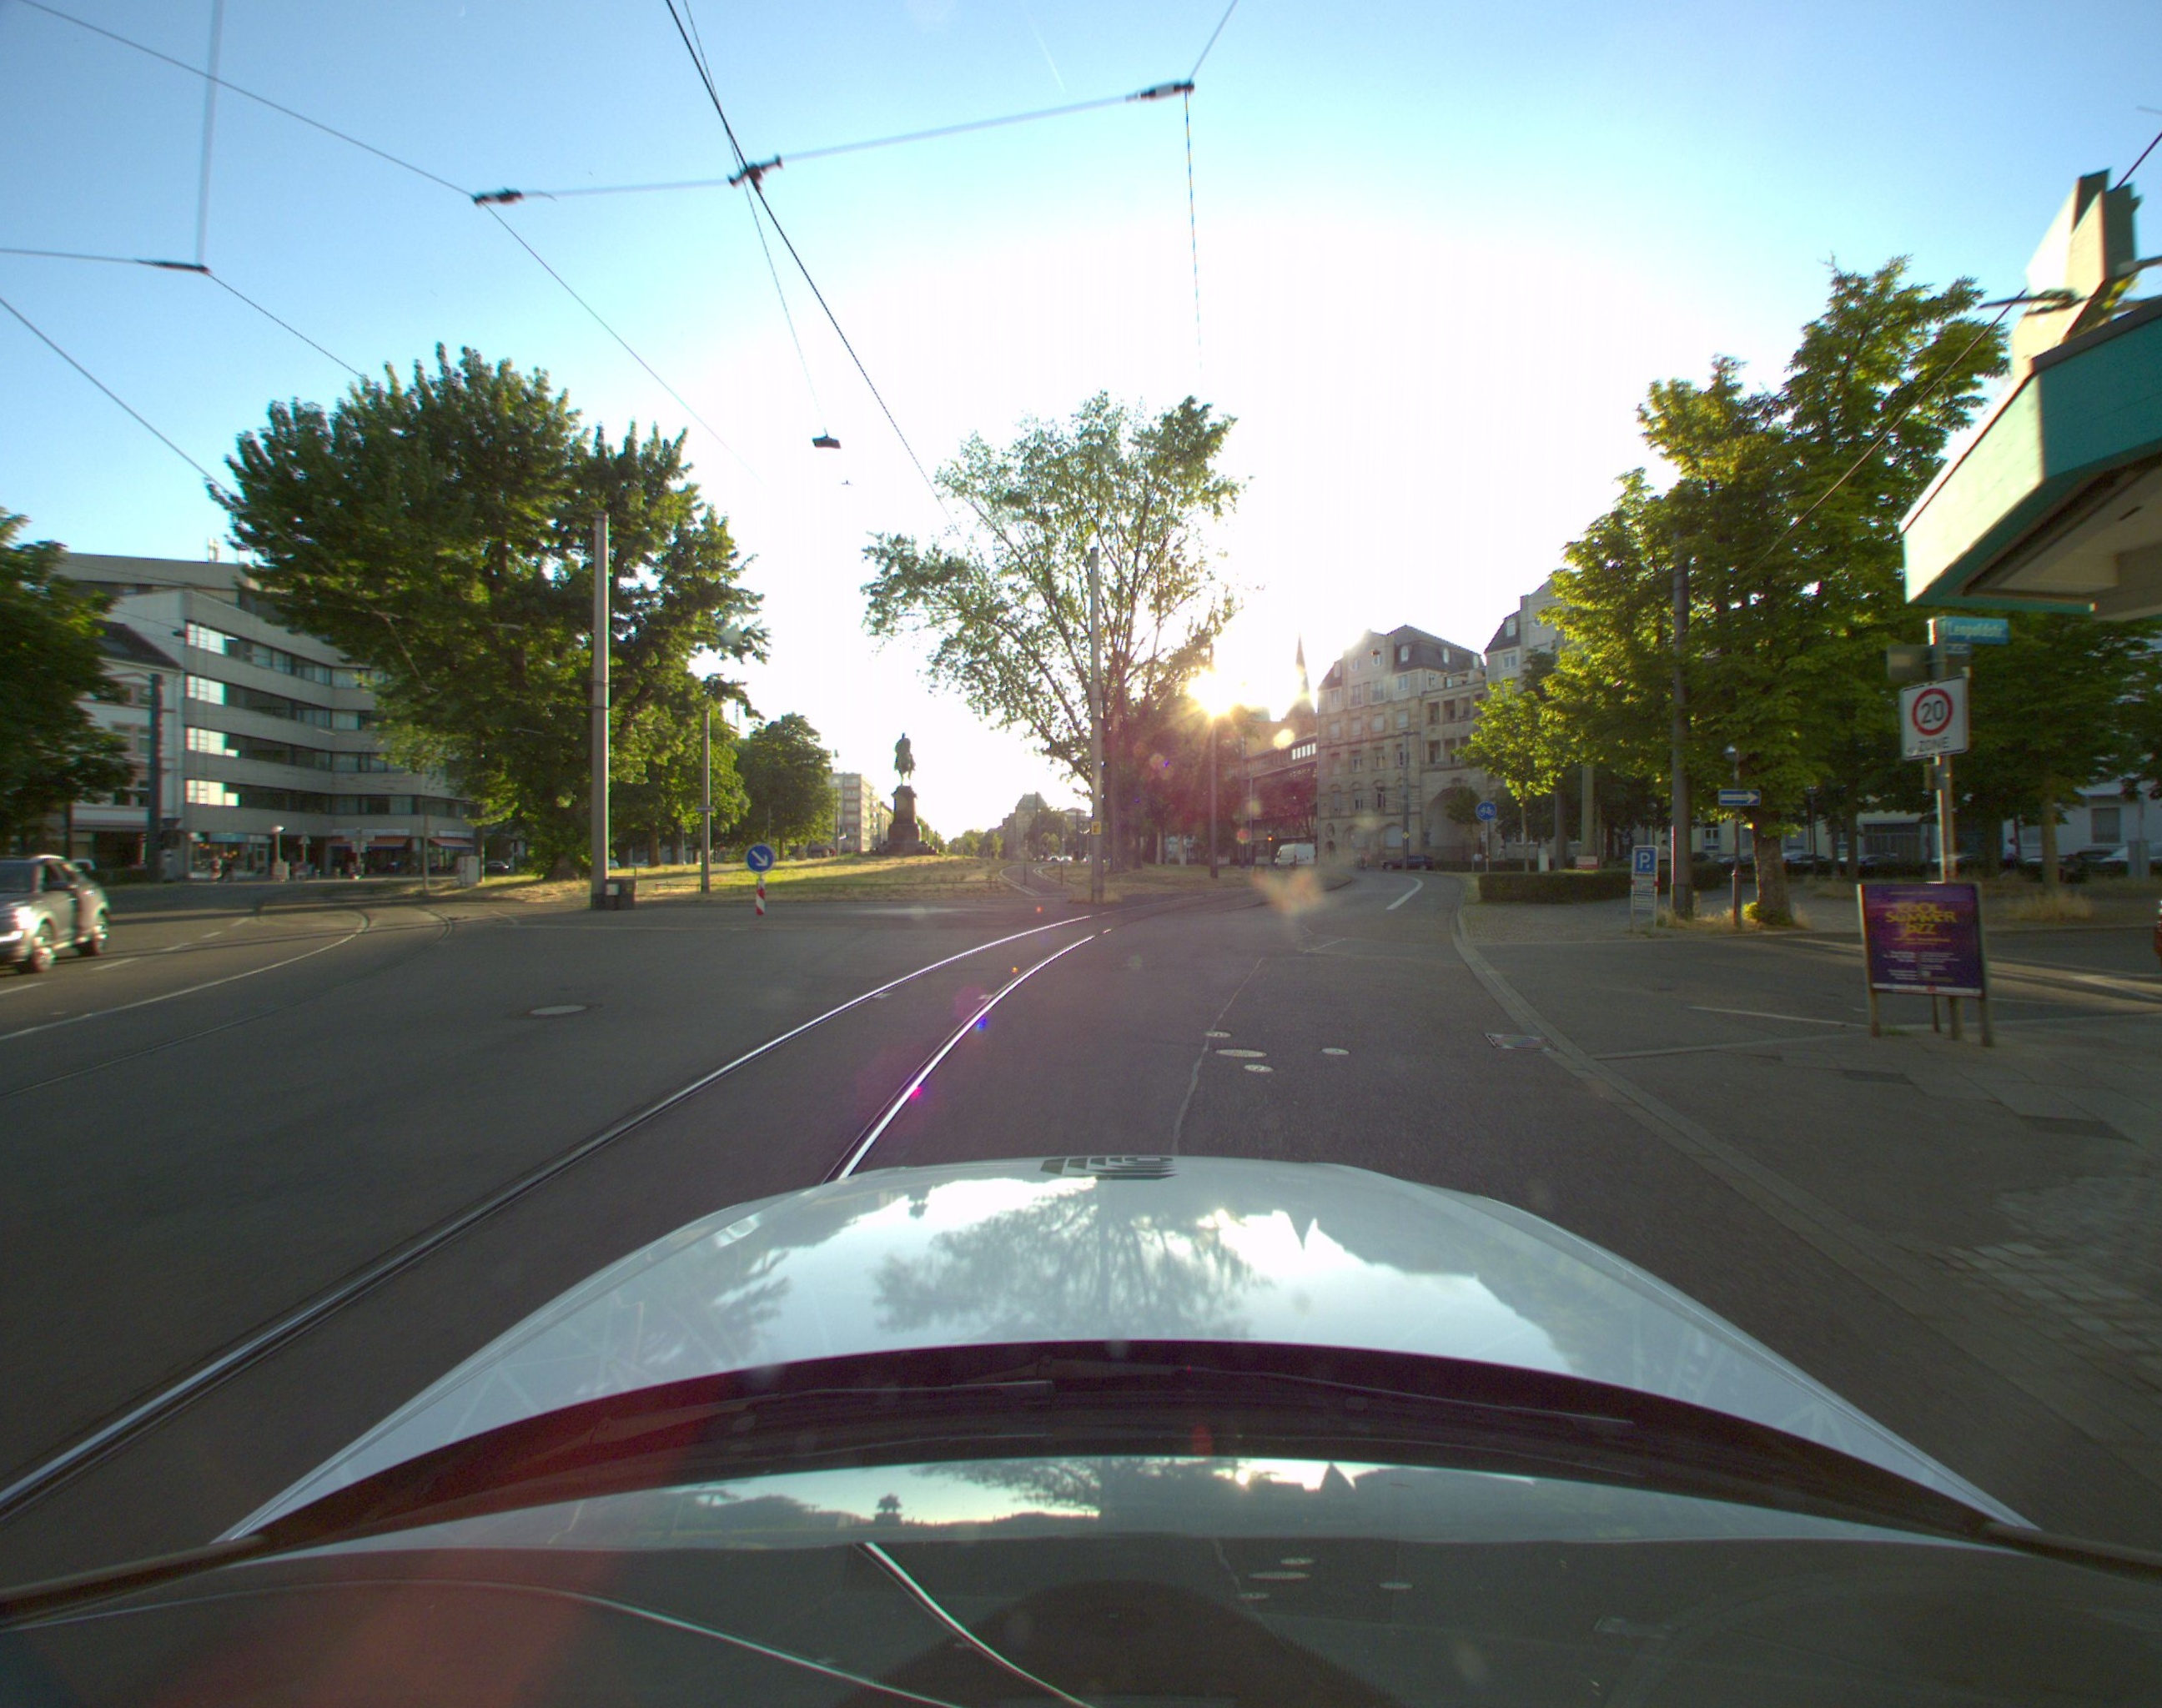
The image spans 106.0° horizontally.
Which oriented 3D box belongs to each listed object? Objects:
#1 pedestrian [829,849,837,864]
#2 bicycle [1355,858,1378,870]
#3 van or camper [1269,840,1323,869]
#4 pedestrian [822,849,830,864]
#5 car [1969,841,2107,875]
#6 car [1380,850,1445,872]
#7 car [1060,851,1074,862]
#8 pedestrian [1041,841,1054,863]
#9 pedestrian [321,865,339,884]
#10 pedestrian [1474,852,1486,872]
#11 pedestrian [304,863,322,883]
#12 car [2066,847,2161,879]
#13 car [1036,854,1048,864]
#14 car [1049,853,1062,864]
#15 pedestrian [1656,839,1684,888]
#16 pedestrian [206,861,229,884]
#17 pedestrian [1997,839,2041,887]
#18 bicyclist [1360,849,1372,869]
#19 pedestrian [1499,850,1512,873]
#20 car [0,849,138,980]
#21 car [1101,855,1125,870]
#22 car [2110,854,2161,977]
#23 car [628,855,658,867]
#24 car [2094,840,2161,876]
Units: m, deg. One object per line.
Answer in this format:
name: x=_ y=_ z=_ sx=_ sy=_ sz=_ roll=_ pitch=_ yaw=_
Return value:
pedestrian: x=-27.219 y=0.248 z=89.334 sx=0.771 sy=1.606 sz=0.635 roll=-1 pitch=0 yaw=-16
bicycle: x=23.680 y=0.842 z=67.626 sx=0.510 sy=0.978 sz=2.228 roll=0 pitch=0 yaw=-19
van or camper: x=19.839 y=0.036 z=75.526 sx=2.606 sy=2.472 sz=6.302 roll=-1 pitch=0 yaw=-8
pedestrian: x=-28.097 y=0.259 z=89.716 sx=0.771 sy=1.606 sz=0.635 roll=-1 pitch=0 yaw=-16
car: x=42.080 y=0.191 z=35.856 sx=4.452 sy=1.426 sz=1.856 roll=0 pitch=-1 yaw=-8
car: x=27.780 y=0.560 z=68.290 sx=4.709 sy=1.762 sz=1.831 roll=0 pitch=0 yaw=42
car: x=-2.560 y=0.373 z=149.277 sx=2.138 sy=2.013 sz=3.987 roll=0 pitch=0 yaw=-9
pedestrian: x=-2.503 y=-0.132 z=60.782 sx=0.630 sy=1.606 sz=0.776 roll=-1 pitch=0 yaw=38
pedestrian: x=-61.047 y=1.643 z=66.162 sx=0.737 sy=1.503 sz=0.774 roll=-1 pitch=0 yaw=14
pedestrian: x=30.282 y=0.595 z=61.839 sx=0.690 sy=1.511 sz=0.587 roll=0 pitch=0 yaw=-34
pedestrian: x=-61.399 y=1.517 z=65.109 sx=0.737 sy=1.503 sz=0.774 roll=-1 pitch=0 yaw=14
car: x=52.999 y=0.452 z=41.677 sx=3.997 sy=1.564 sz=1.988 roll=0 pitch=0 yaw=-17
car: x=-8.437 y=1.081 z=177.178 sx=2.138 sy=2.013 sz=3.987 roll=0 pitch=0 yaw=-9
car: x=-5.101 y=0.853 z=162.054 sx=2.138 sy=2.013 sz=3.987 roll=0 pitch=0 yaw=-9
pedestrian: x=24.408 y=0.389 z=33.747 sx=0.819 sy=2.013 sz=0.645 roll=0 pitch=0 yaw=-27
pedestrian: x=-55.864 y=1.183 z=52.694 sx=0.746 sy=1.503 sz=0.765 roll=-1 pitch=0 yaw=-25
pedestrian: x=34.359 y=0.325 z=29.842 sx=1.008 sy=1.749 sz=0.765 roll=0 pitch=0 yaw=-22
bicyclist: x=23.642 y=0.387 z=67.585 sx=0.510 sy=1.642 sz=0.770 roll=0 pitch=0 yaw=-19
pedestrian: x=28.078 y=0.469 z=53.890 sx=0.627 sy=1.511 sz=0.691 roll=0 pitch=0 yaw=39
car: x=-15.793 y=0.814 z=11.869 sx=1.980 sy=1.676 sz=4.308 roll=-2 pitch=1 yaw=-40
car: x=4.515 y=1.196 z=115.706 sx=2.000 sy=1.969 sz=3.974 roll=-1 pitch=0 yaw=-19
car: x=14.755 y=0.731 z=9.535 sx=3.857 sy=1.440 sz=1.826 roll=0 pitch=1 yaw=-11
car: x=-53.127 y=0.850 z=98.834 sx=1.875 sy=1.420 sz=3.916 roll=-1 pitch=0 yaw=-7
car: x=44.576 y=0.171 z=33.363 sx=4.452 sy=1.426 sz=1.856 roll=0 pitch=-1 yaw=-8
